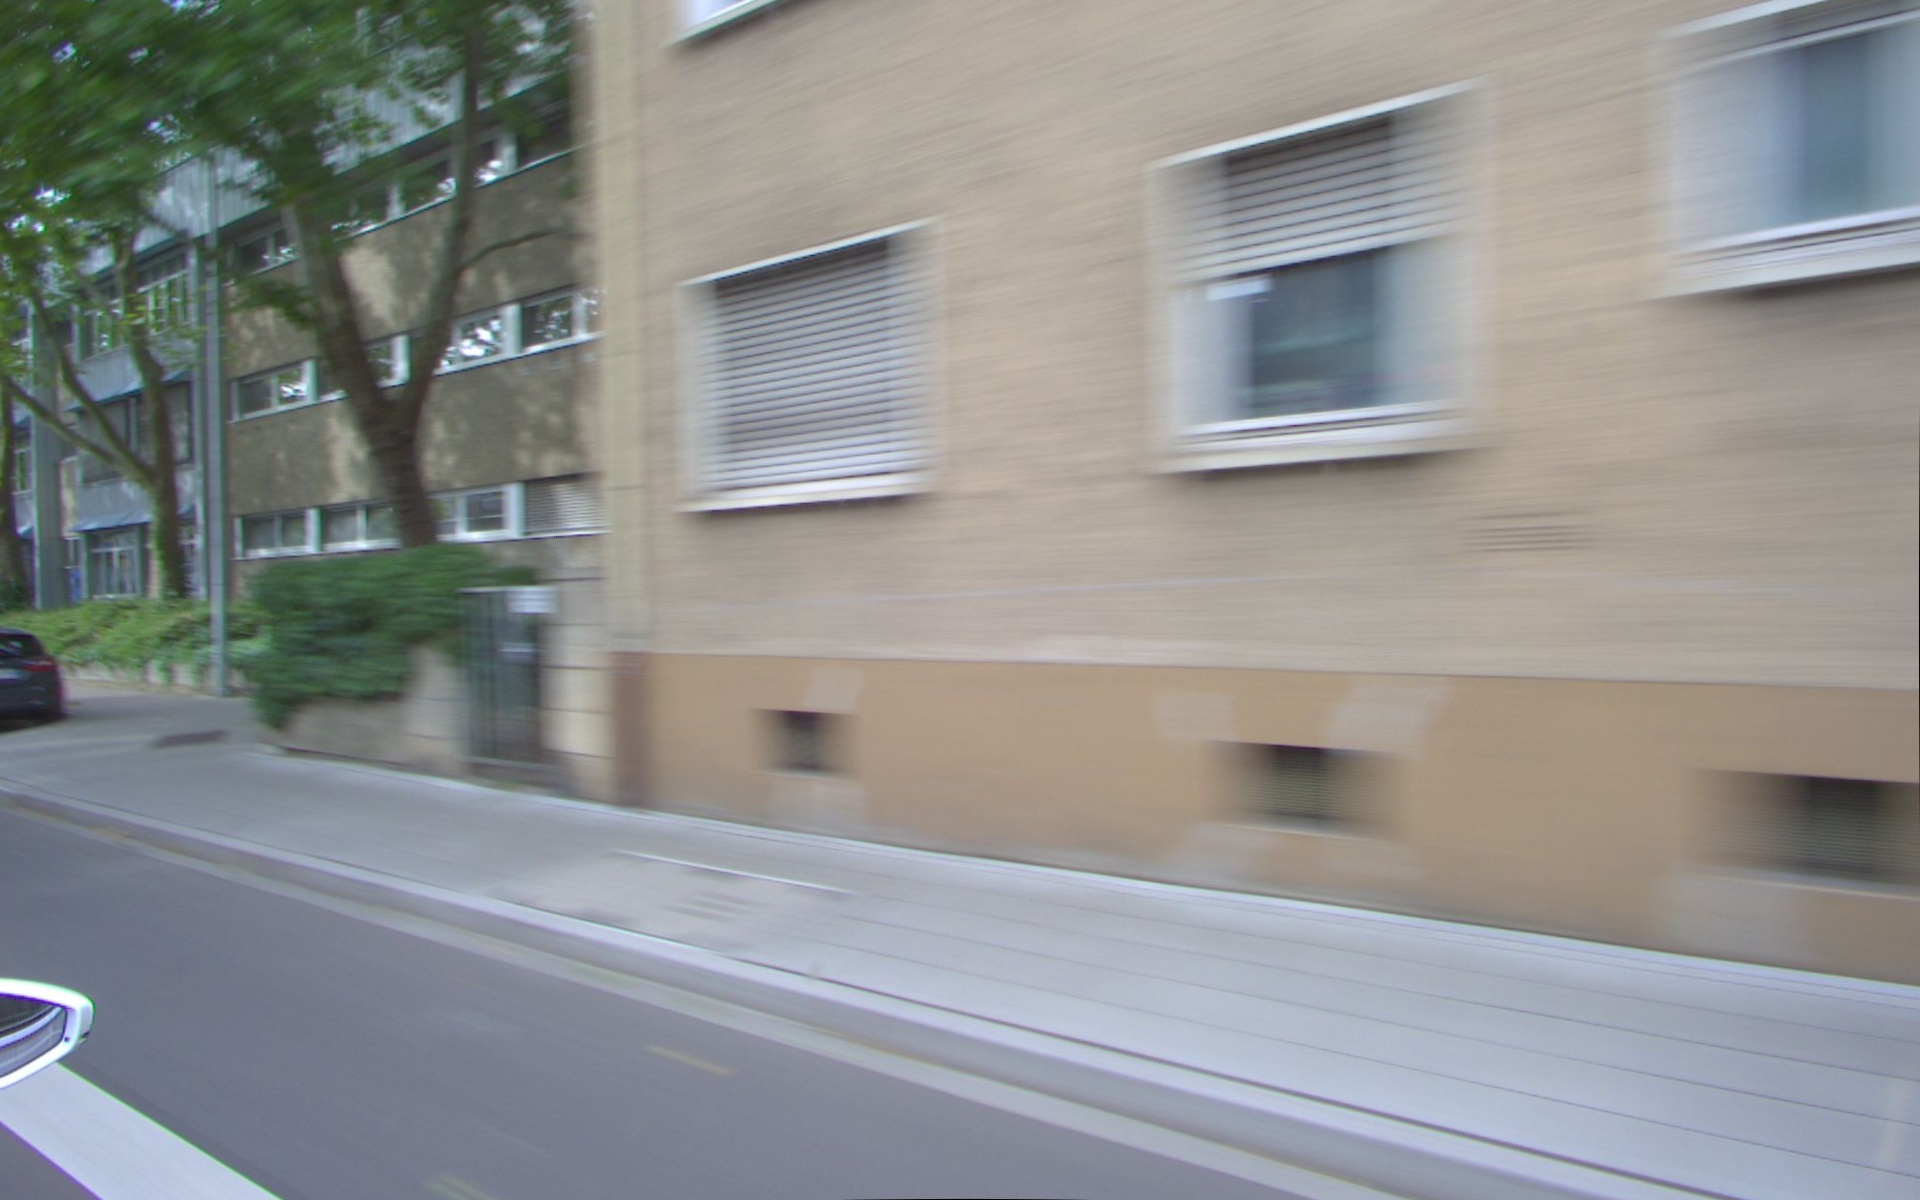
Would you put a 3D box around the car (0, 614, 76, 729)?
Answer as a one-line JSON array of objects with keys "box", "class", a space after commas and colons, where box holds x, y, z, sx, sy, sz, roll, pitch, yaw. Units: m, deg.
[{"box": [-14.251, 0.949, 14.126, 3.810, 1.441, 1.654, 1, 1, 32], "class": "car"}]
